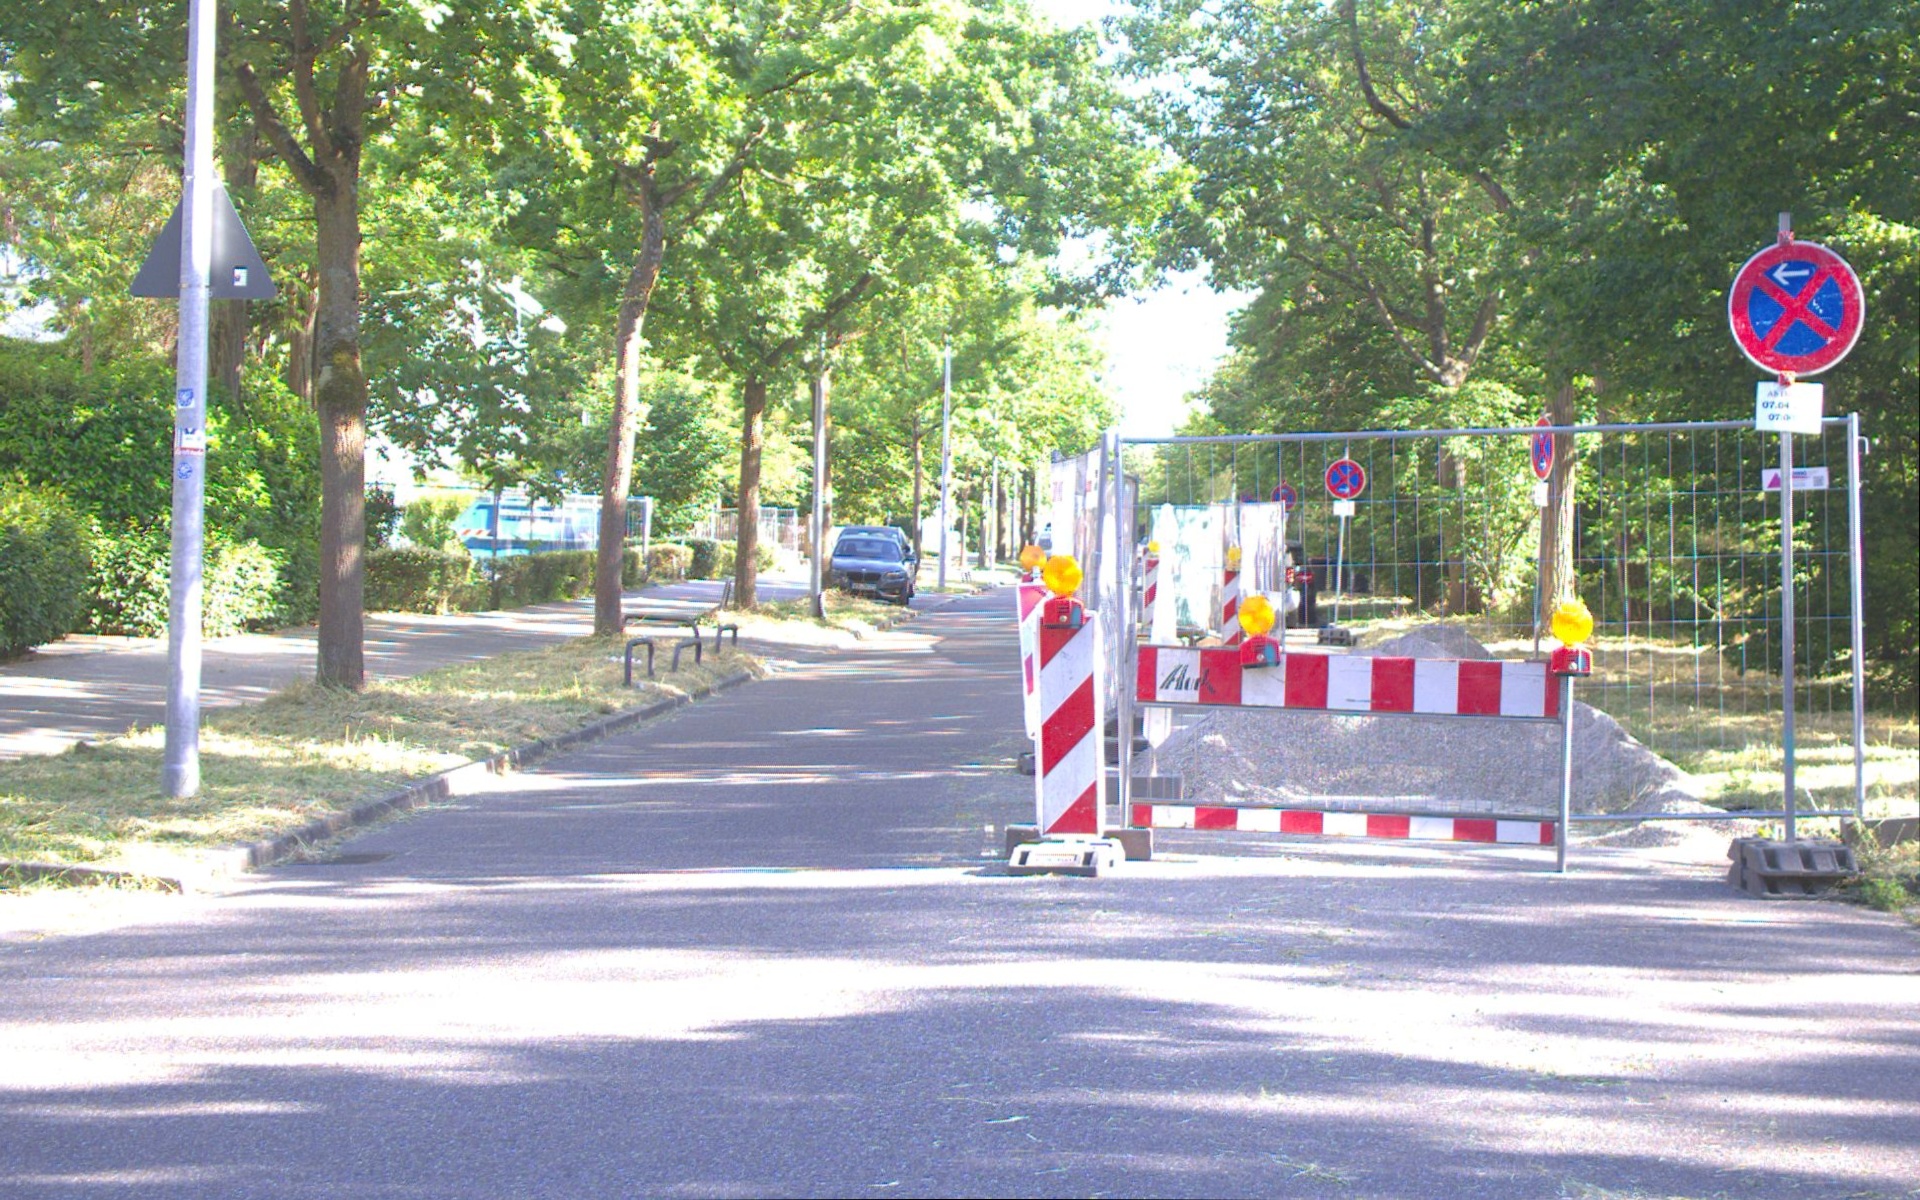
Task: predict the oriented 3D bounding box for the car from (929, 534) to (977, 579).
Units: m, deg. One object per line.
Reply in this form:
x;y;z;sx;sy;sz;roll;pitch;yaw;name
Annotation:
-0.197;-1.332;105.755;1.361;1.298;3.481;2;0;1;car

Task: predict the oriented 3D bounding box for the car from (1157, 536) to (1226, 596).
5.365;-0.784;79.882;1.361;1.298;3.481;2;0;1;car

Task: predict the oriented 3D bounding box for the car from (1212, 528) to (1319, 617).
5.703;-0.536;64.505;1.753;1.590;3.657;1;1;2;car

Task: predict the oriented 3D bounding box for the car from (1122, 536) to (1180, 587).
5.149;-1.032;92.880;1.361;1.298;3.481;2;0;1;car
